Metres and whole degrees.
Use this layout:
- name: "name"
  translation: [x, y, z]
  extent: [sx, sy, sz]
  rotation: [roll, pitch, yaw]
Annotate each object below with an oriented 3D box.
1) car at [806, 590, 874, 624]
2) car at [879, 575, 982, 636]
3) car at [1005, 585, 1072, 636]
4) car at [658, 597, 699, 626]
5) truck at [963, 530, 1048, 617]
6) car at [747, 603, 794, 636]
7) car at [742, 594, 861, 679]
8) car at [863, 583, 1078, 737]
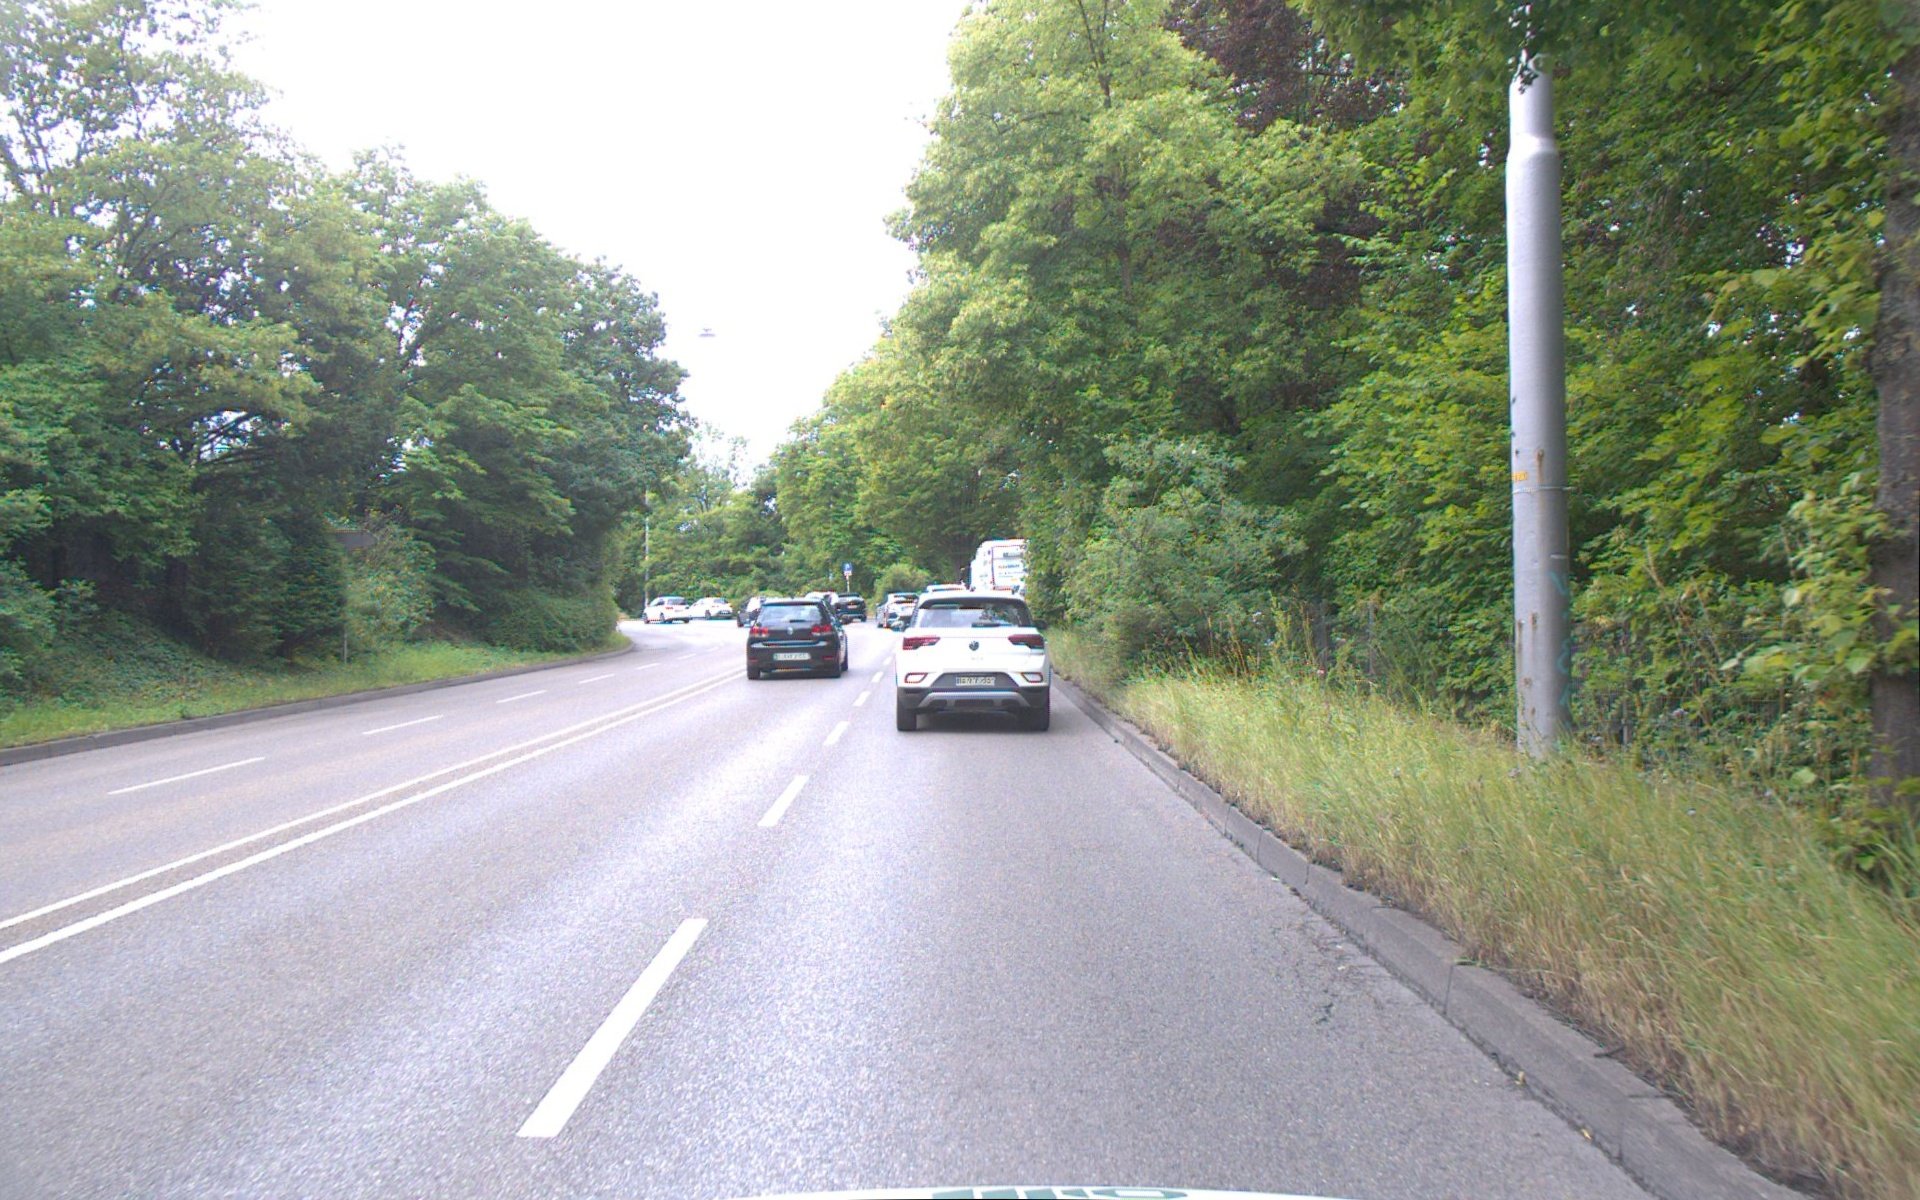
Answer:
- name: "car"
  translation: [-6.079, 0.354, 83.363]
  extent: [1.750, 1.635, 3.954]
  rotation: [1, 0, -33]
- name: "car"
  translation: [-0.964, 0.148, 51.518]
  extent: [1.826, 1.732, 3.973]
  rotation: [-3, 1, -22]
- name: "car"
  translation: [2.576, 0.344, 55.090]
  extent: [1.767, 1.551, 3.997]
  rotation: [-3, 0, -3]
- name: "car"
  translation: [-16.631, 0.668, 97.895]
  extent: [1.784, 1.651, 3.999]
  rotation: [1, 0, -1]
- name: "truck"
  translation: [1.711, -0.969, 65.407]
  extent: [2.434, 3.237, 7.219]
  rotation: [1, 0, -6]
- name: "car"
  translation: [-9.574, 0.991, 83.774]
  extent: [1.953, 1.620, 3.999]
  rotation: [1, 0, -1]
- name: "car"
  translation: [-2.946, 0.690, 31.470]
  extent: [1.909, 1.492, 3.999]
  rotation: [1, -1, -1]
- name: "car"
  translation: [0.008, 0.656, 19.660]
  extent: [1.963, 1.624, 3.992]
  rotation: [1, 0, -8]
